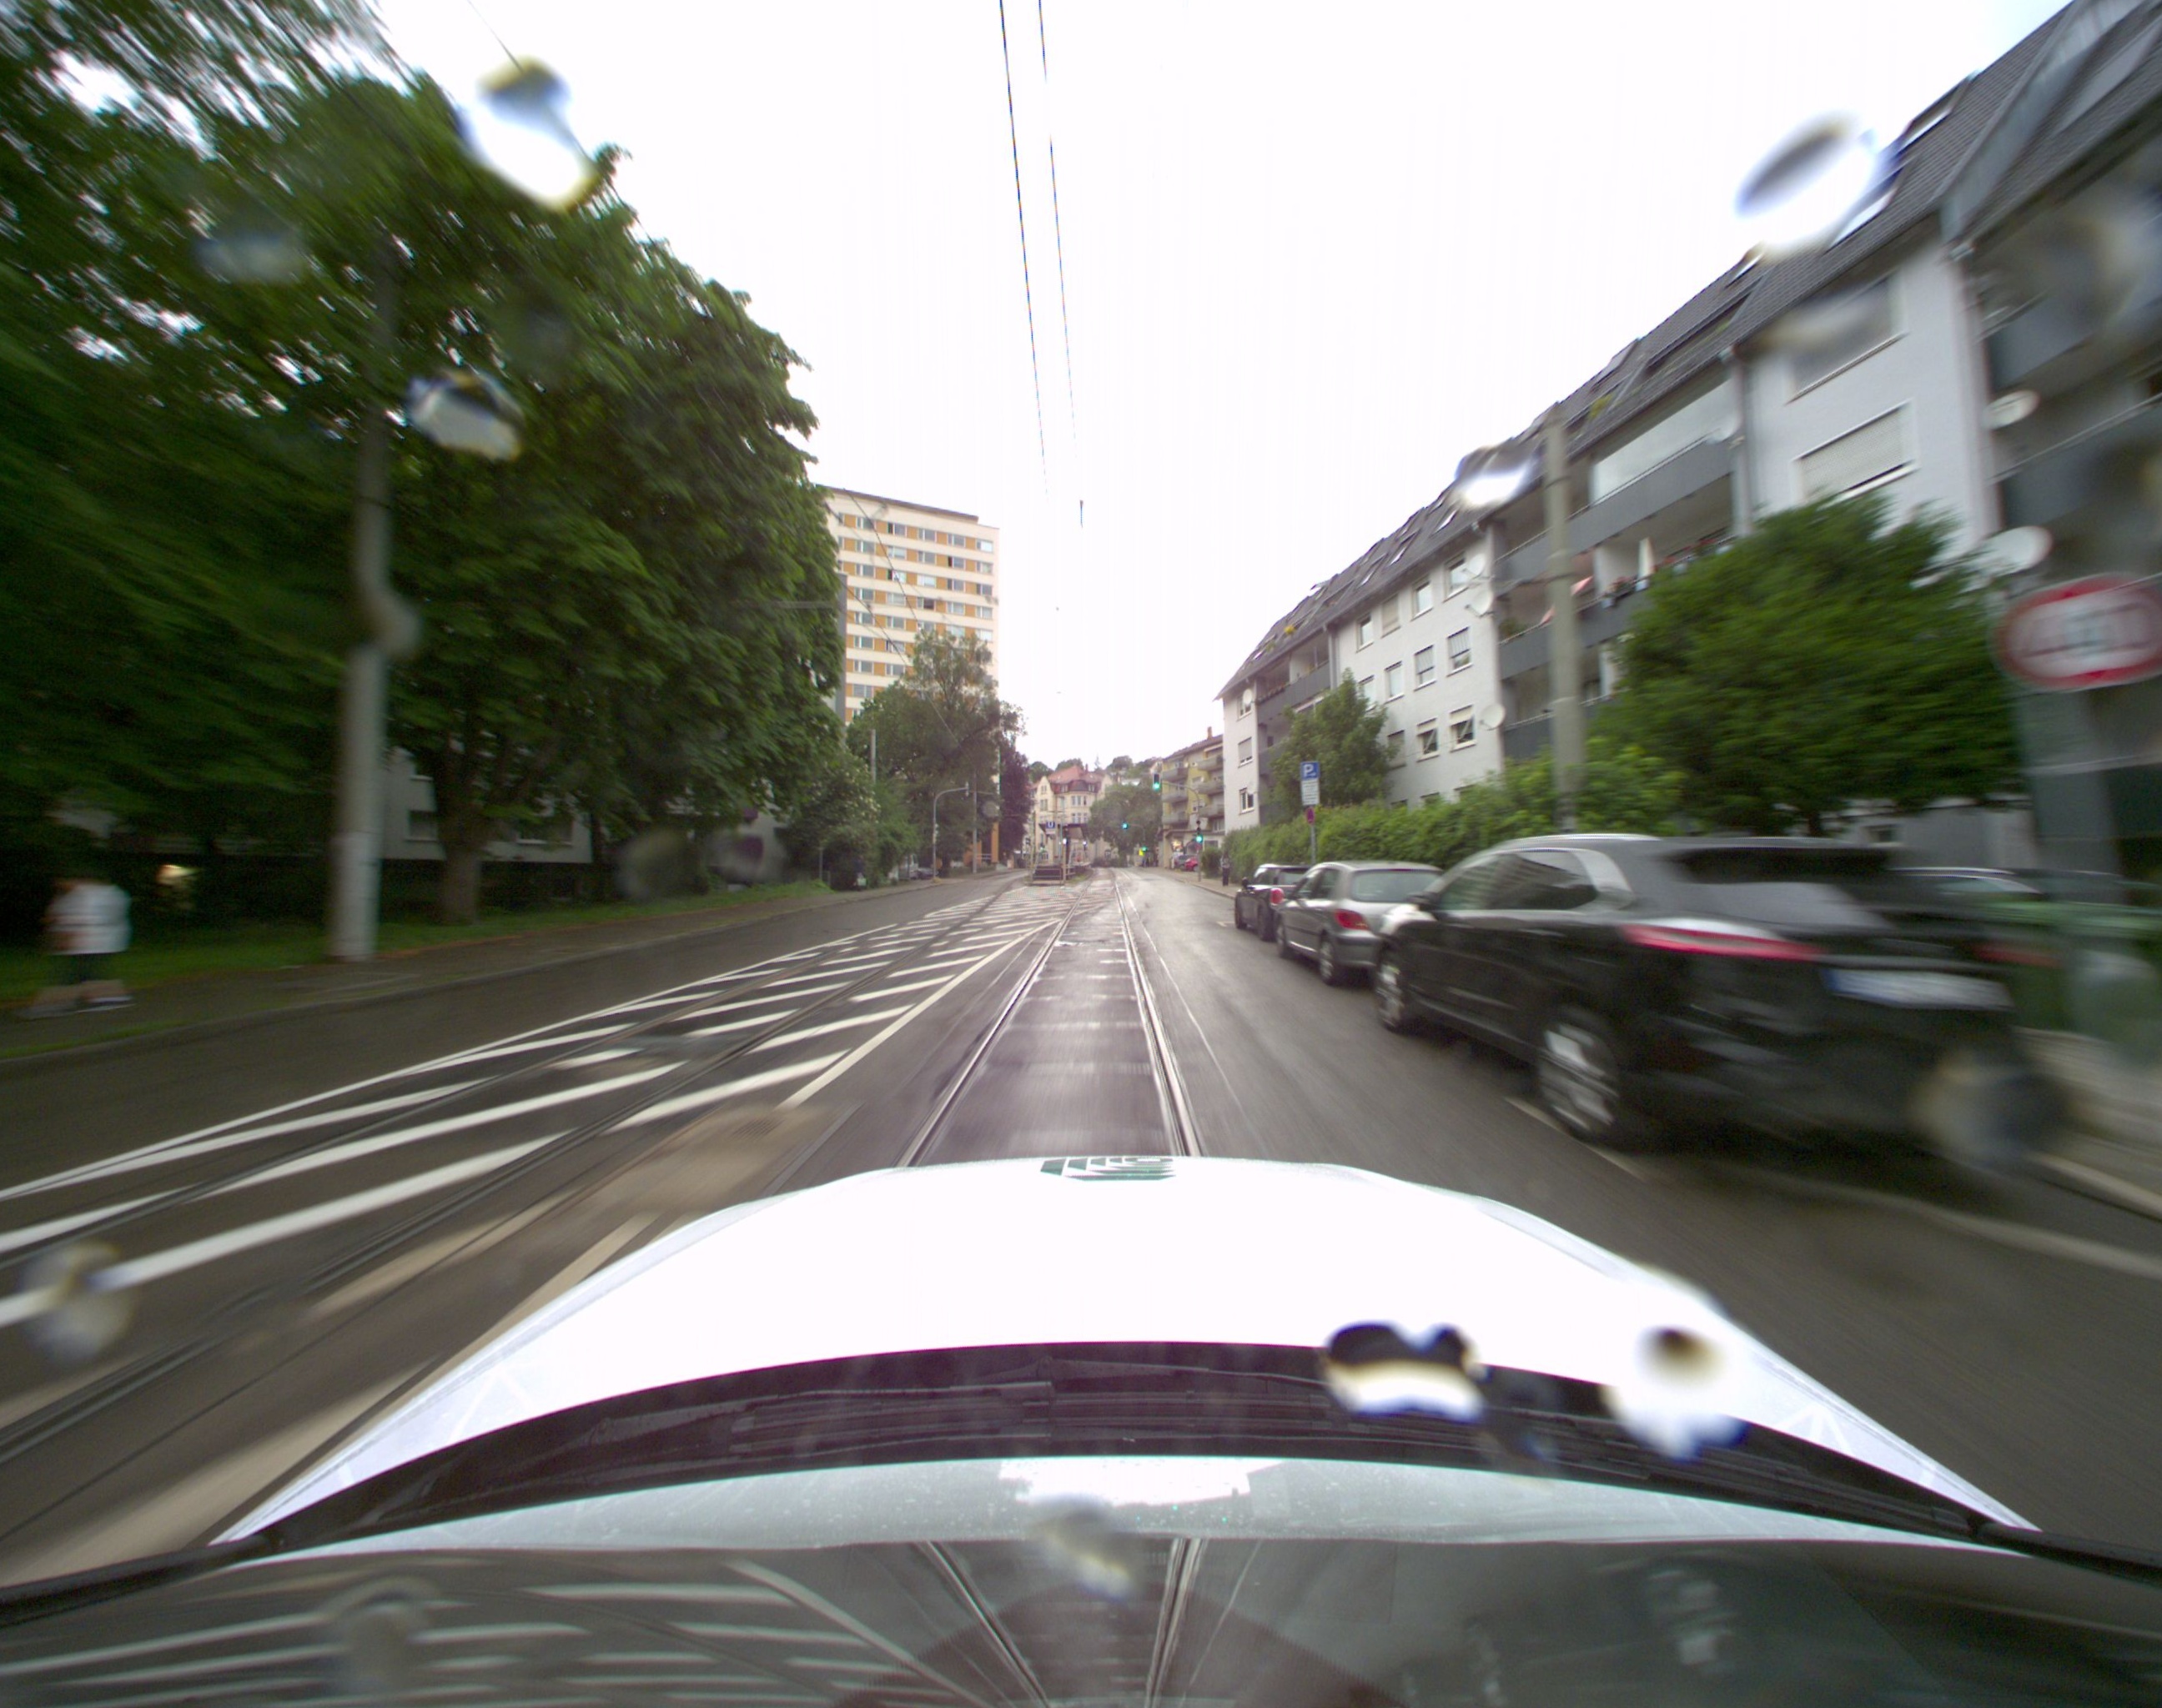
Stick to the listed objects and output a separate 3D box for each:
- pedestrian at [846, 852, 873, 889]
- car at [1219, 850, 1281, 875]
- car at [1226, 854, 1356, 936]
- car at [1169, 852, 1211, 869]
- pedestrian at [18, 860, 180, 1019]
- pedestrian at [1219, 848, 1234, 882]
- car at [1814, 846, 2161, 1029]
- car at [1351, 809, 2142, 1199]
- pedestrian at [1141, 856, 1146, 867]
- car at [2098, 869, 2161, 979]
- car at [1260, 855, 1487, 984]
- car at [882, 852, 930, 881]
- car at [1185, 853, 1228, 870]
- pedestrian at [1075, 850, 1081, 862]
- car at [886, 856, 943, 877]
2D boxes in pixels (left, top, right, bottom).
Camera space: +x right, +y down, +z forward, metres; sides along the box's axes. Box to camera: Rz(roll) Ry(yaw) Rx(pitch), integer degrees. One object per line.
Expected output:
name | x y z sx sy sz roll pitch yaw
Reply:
pedestrian | -10.412 0.794 38.301 0.731 1.678 0.924 -2 -5 29
car | 11.799 0.622 56.929 3.974 1.646 1.807 0 -3 0
car | 4.100 0.756 16.485 1.699 1.426 3.862 1 -1 1
car | 11.009 0.633 82.345 3.973 1.646 1.807 0 -3 1
pedestrian | -10.492 0.885 8.738 0.581 1.600 0.868 2 -2 -2
pedestrian | 7.038 0.544 39.385 0.641 1.629 0.700 0 -2 4
car | 9.822 0.779 7.868 1.714 1.515 4.203 0 -4 1
car | 3.624 0.669 5.832 1.899 1.642 4.689 1 -1 1
pedestrian | 8.382 0.984 108.892 0.577 1.467 0.542 1 -5 -6
car | 14.424 0.852 8.645 1.770 1.379 4.431 0 -1 1
car | 3.776 0.767 11.327 1.699 1.428 4.250 1 -1 1
car | -11.695 0.853 54.686 1.984 1.684 4.003 0 -4 4
car | 12.098 0.701 78.607 3.829 1.543 1.807 0 -3 0
pedestrian | -0.321 0.227 100.989 0.654 1.467 0.772 0 -4 4
car | -12.652 0.985 61.791 3.951 1.406 1.691 -2 -5 24
